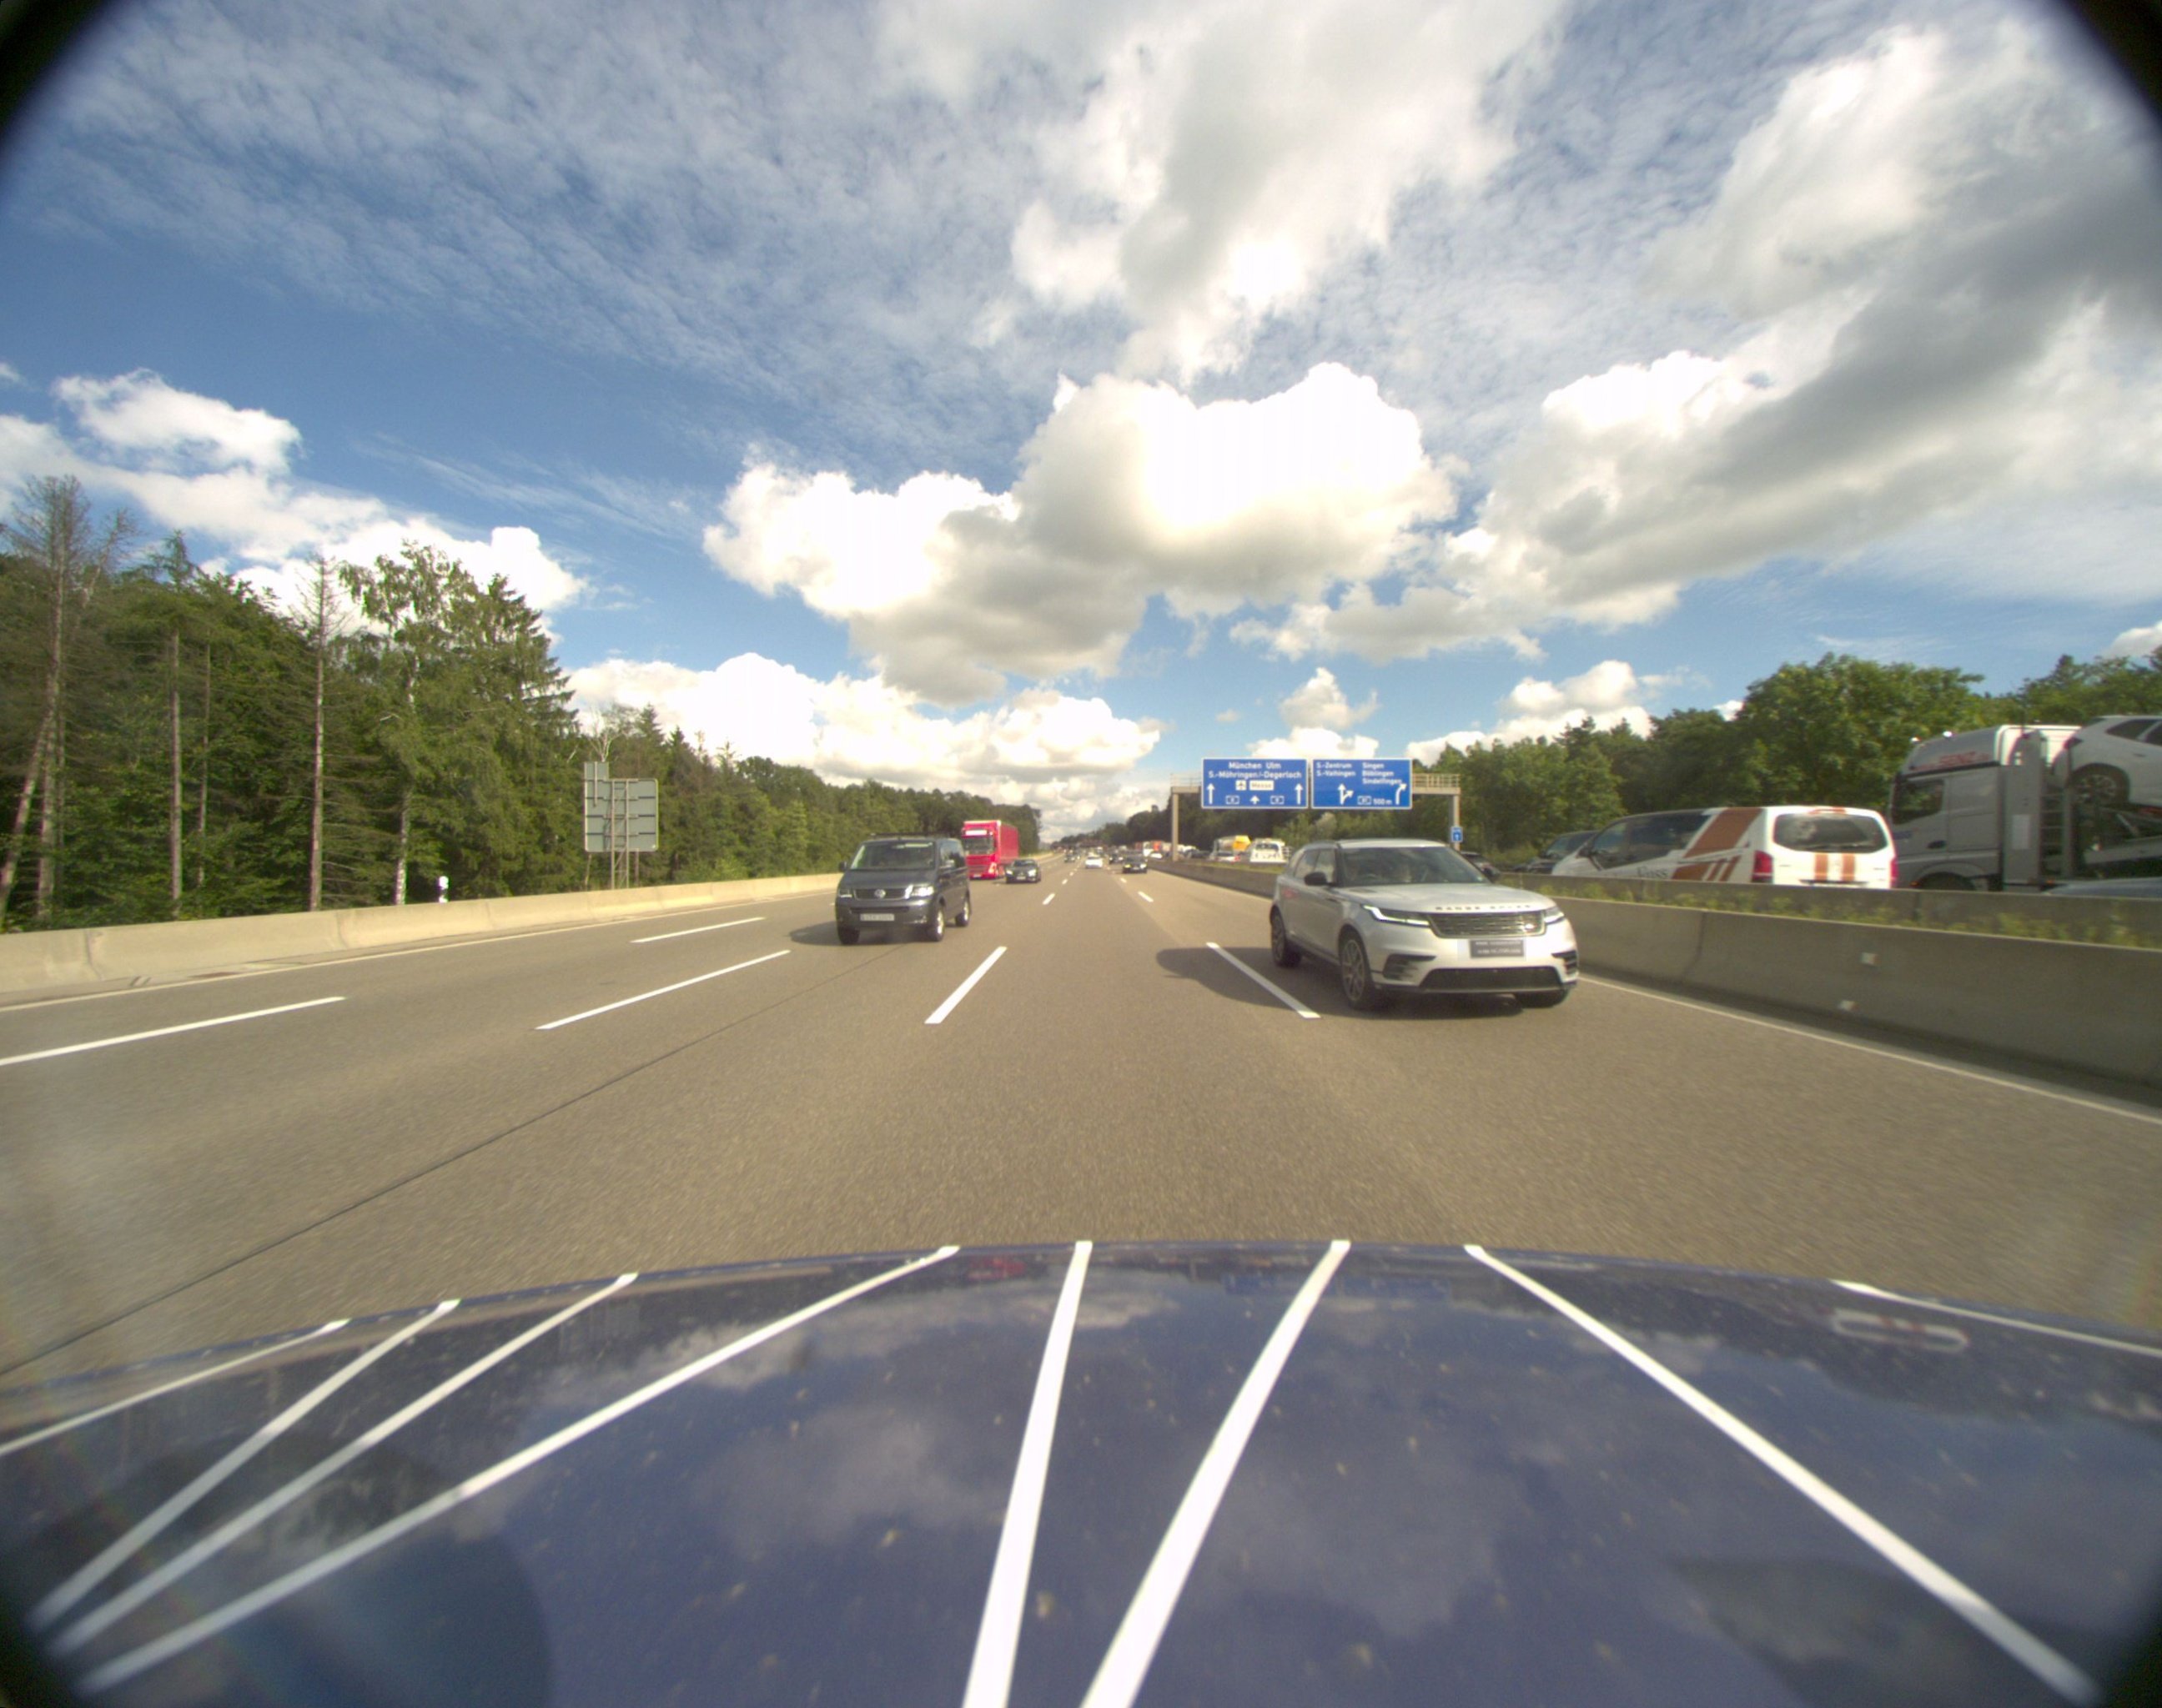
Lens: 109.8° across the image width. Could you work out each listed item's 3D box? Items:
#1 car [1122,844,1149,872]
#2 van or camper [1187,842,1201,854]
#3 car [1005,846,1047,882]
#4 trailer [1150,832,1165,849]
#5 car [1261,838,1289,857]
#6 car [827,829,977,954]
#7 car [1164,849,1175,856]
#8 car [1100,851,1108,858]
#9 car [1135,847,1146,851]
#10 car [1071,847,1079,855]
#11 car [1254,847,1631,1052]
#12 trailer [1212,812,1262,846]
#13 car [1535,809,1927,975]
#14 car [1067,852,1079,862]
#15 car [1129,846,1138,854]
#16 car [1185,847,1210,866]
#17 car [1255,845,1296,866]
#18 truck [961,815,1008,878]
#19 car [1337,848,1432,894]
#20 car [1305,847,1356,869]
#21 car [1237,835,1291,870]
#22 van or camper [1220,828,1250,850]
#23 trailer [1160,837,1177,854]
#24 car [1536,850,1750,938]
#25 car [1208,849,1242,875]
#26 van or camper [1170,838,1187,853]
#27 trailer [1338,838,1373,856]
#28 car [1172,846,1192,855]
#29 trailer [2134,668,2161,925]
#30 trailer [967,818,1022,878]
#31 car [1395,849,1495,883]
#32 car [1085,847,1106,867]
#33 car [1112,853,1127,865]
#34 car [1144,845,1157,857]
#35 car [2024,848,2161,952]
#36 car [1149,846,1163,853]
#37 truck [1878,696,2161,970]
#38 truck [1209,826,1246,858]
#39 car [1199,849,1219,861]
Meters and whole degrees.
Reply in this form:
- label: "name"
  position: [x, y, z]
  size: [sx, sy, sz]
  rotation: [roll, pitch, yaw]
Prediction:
- label: "car"
  position: [4.301, 0.309, 60.206]
  size: [1.919, 2.002, 4.000]
  rotation: [-3, 0, 2]
- label: "van or camper"
  position: [20.491, -1.147, 138.285]
  size: [2.288, 2.000, 4.689]
  rotation: [-2, 1, 6]
- label: "car"
  position: [-3.220, 0.538, 44.918]
  size: [1.998, 2.002, 4.000]
  rotation: [-1, 0, 2]
- label: "trailer"
  position: [20.085, -3.530, 201.142]
  size: [2.646, 4.295, 13.174]
  rotation: [-2, 1, 1]
- label: "car"
  position: [19.431, -0.679, 76.221]
  size: [1.804, 1.865, 3.950]
  rotation: [-1, 1, 1]
- label: "car"
  position: [-3.469, 0.657, 15.780]
  size: [1.927, 2.153, 4.960]
  rotation: [-1, 0, 0]
- label: "car"
  position: [15.877, -0.253, 136.459]
  size: [1.667, 1.249, 3.590]
  rotation: [-2, 0, 0]
- label: "car"
  position: [5.810, 0.151, 192.274]
  size: [1.804, 1.783, 3.758]
  rotation: [-1, 1, 1]
- label: "car"
  position: [11.387, -0.982, 145.767]
  size: [1.651, 0.720, 4.447]
  rotation: [-2, 1, 0]
- label: "car"
  position: [-1.350, -0.734, 177.311]
  size: [1.804, 1.865, 3.950]
  rotation: [-1, 1, 1]
- label: "car"
  position: [3.472, 0.752, 8.638]
  size: [1.904, 1.597, 5.105]
  rotation: [-2, 0, 1]
- label: "trailer"
  position: [18.962, -2.931, 93.456]
  size: [3.420, 3.806, 13.259]
  rotation: [-2, 0, 1]
- label: "car"
  position: [9.998, 0.434, 12.484]
  size: [1.998, 2.088, 5.277]
  rotation: [-2, 1, 1]
- label: "car"
  position: [-1.461, 0.521, 135.339]
  size: [1.911, 1.582, 4.286]
  rotation: [-2, 1, -2]
- label: "car"
  position: [12.167, -0.888, 175.577]
  size: [1.821, 1.754, 4.629]
  rotation: [-1, 1, 0]
- label: "car"
  position: [11.353, 0.193, 74.330]
  size: [1.771, 1.788, 4.938]
  rotation: [-2, 1, 1]
- label: "car"
  position: [15.076, 0.083, 59.133]
  size: [1.792, 1.441, 5.375]
  rotation: [-2, 1, 1]
- label: "truck"
  position: [-6.685, -0.513, 53.272]
  size: [2.532, 4.178, 4.652]
  rotation: [-1, 1, 1]
- label: "car"
  position: [10.409, 0.545, 26.378]
  size: [1.699, 1.364, 4.000]
  rotation: [-4, 0, 2]
- label: "car"
  position: [14.023, 0.190, 42.957]
  size: [1.568, 1.133, 4.163]
  rotation: [-2, 1, 1]
- label: "car"
  position: [10.569, -0.087, 44.229]
  size: [2.092, 1.791, 4.179]
  rotation: [-3, 0, 1]
- label: "van or camper"
  position: [19.270, -1.901, 95.337]
  size: [2.330, 2.628, 7.395]
  rotation: [-2, 1, 1]
- label: "trailer"
  position: [20.551, -1.923, 178.193]
  size: [2.895, 3.637, 10.220]
  rotation: [-2, 0, 1]
- label: "car"
  position: [13.725, 0.871, 18.998]
  size: [1.916, 1.865, 4.697]
  rotation: [-1, 1, 1]
- label: "car"
  position: [10.899, 0.572, 57.780]
  size: [1.804, 1.865, 3.950]
  rotation: [-4, 1, 1]
- label: "van or camper"
  position: [20.270, -1.751, 158.121]
  size: [2.476, 2.873, 7.479]
  rotation: [-2, 2, 1]
- label: "trailer"
  position: [26.673, -0.718, 73.986]
  size: [1.830, 1.570, 4.348]
  rotation: [-2, 1, 1]
- label: "car"
  position: [11.851, -0.393, 89.130]
  size: [1.671, 0.922, 5.463]
  rotation: [-2, 1, 1]
- label: "trailer"
  position: [17.949, -0.823, 3.984]
  size: [2.837, 3.952, 16.003]
  rotation: [-2, 1, 1]
- label: "trailer"
  position: [-6.601, -0.522, 60.279]
  size: [2.531, 4.096, 14.374]
  rotation: [-1, 1, 0]
- label: "car"
  position: [14.009, 0.419, 29.576]
  size: [1.644, 1.071, 4.883]
  rotation: [-2, 1, 1]
- label: "car"
  position: [1.575, 0.311, 80.118]
  size: [1.998, 2.002, 4.000]
  rotation: [-3, 0, 2]
- label: "car"
  position: [5.339, 0.704, 106.985]
  size: [1.911, 1.582, 4.287]
  rotation: [-2, 1, 1]
- label: "car"
  position: [11.961, -0.476, 131.103]
  size: [1.837, 2.050, 5.500]
  rotation: [0, 1, 0]
- label: "car"
  position: [14.200, 0.581, 8.425]
  size: [1.837, 1.223, 4.566]
  rotation: [-2, 1, 0]
- label: "car"
  position: [11.430, -0.664, 115.590]
  size: [1.647, 0.934, 4.488]
  rotation: [-2, 1, 0]
- label: "truck"
  position: [18.028, -0.374, 12.962]
  size: [2.860, 4.210, 5.712]
  rotation: [-2, 1, 1]
- label: "truck"
  position: [19.154, -1.480, 99.585]
  size: [3.425, 3.877, 6.801]
  rotation: [-3, 0, 1]
- label: "car"
  position: [14.709, 0.055, 87.474]
  size: [1.567, 1.316, 4.536]
  rotation: [-2, 1, 1]
